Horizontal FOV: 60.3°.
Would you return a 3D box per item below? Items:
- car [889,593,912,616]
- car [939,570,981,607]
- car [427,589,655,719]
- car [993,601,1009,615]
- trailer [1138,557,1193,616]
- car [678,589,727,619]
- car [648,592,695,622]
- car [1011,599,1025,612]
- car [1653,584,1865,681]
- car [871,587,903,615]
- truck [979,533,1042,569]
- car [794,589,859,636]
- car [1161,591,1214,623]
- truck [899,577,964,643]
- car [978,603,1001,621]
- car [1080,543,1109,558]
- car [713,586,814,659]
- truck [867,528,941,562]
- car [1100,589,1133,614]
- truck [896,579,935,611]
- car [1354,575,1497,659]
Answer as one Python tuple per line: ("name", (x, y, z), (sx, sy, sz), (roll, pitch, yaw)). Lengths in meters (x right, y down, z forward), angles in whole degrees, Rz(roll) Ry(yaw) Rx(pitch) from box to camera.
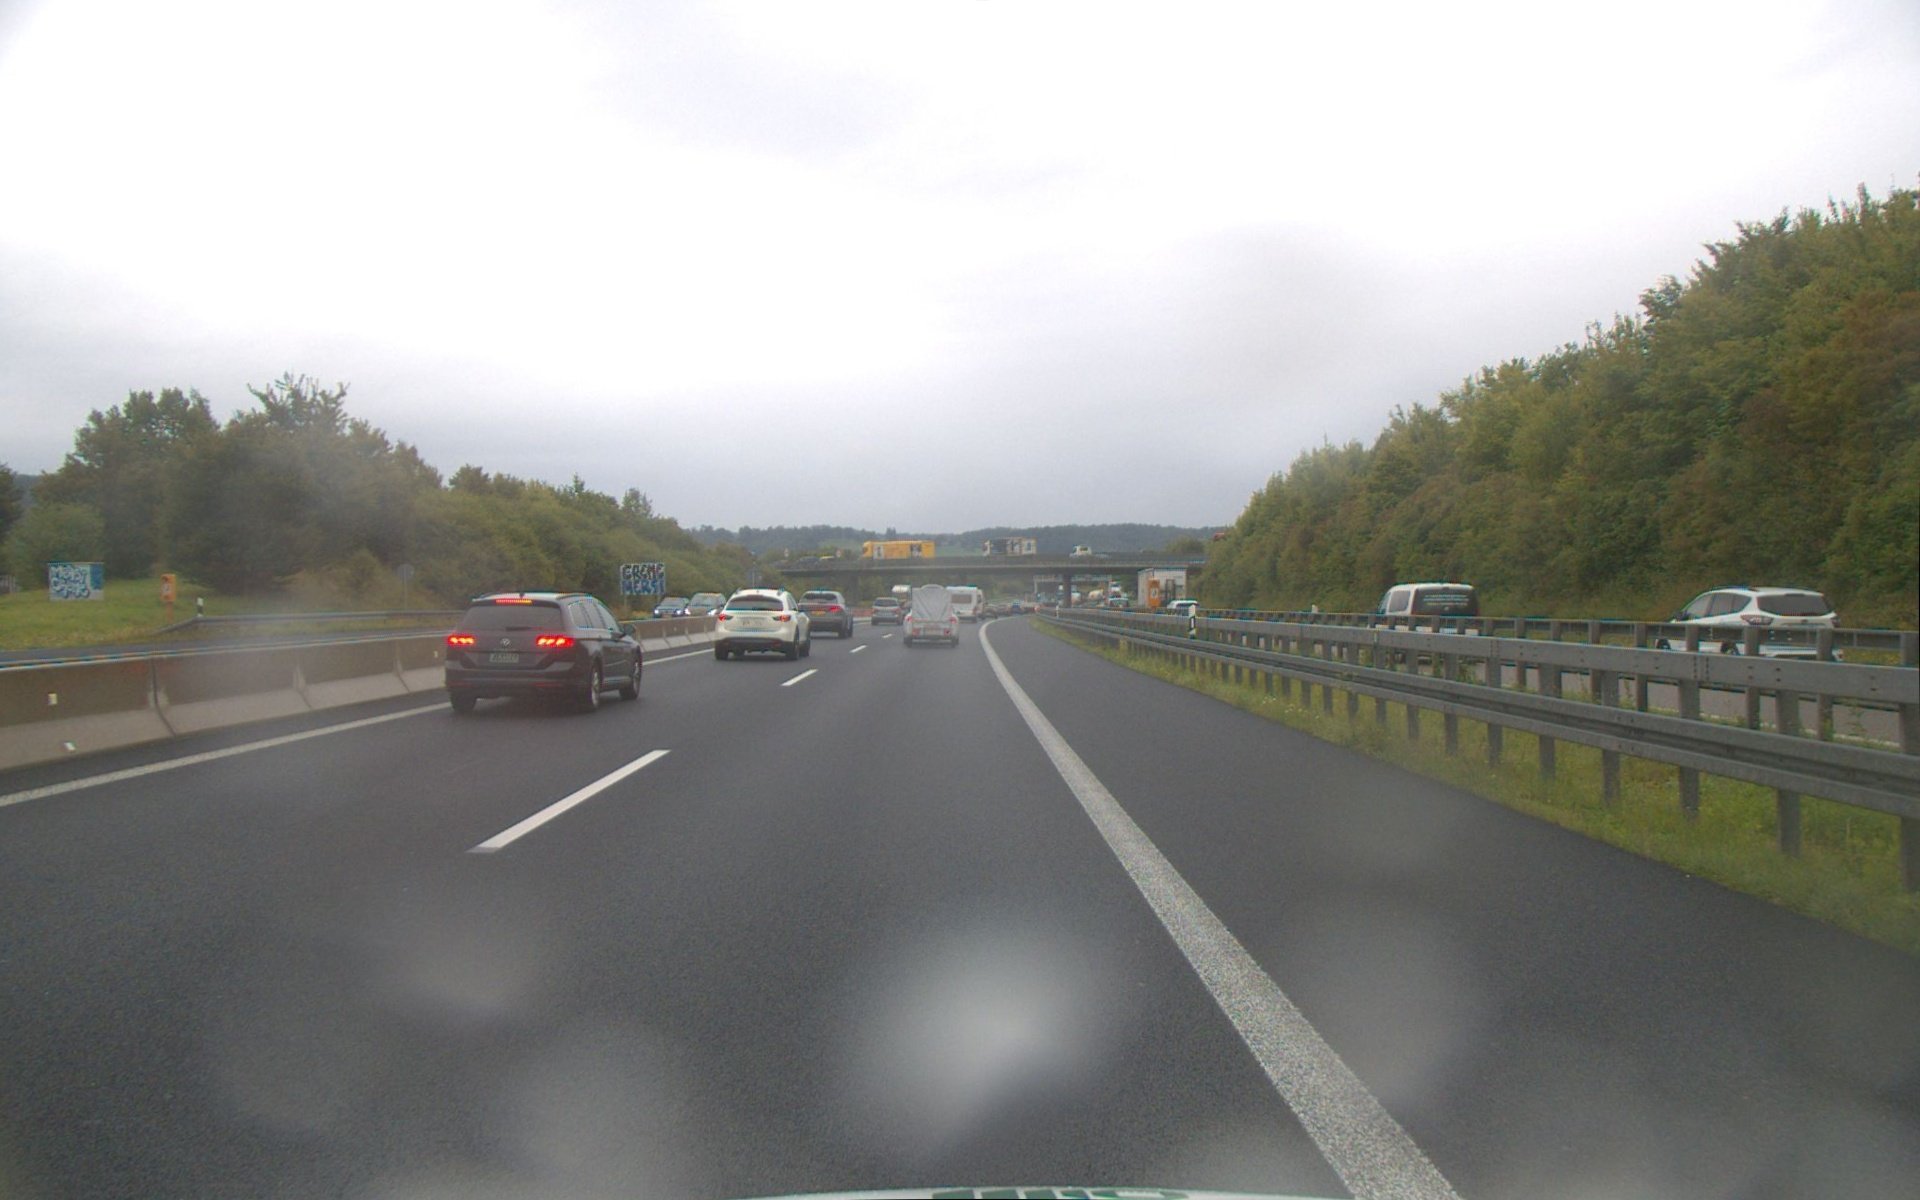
("car", (-4.774, 0.342, 131.783), (1.805, 1.851, 3.998), (0, 0, -2))
("car", (0.049, -0.875, 121.284), (2.954, 2.662, 6.075), (0, 1, 1))
("car", (-5.365, 0.645, 21.854), (1.862, 1.523, 4.850), (0, 0, -1))
("car", (5.264, 0.987, 211.889), (1.953, 1.780, 4.000), (1, 0, 0))
("trailer", (15.761, -1.073, 127.719), (3.366, 4.364, 10.457), (0, 0, 2))
("car", (-13.542, 0.182, 87.194), (1.942, 1.532, 4.637), (0, 0, -1))
("car", (-16.630, 0.397, 95.476), (1.942, 1.642, 4.421), (1, 0, -1))
("car", (8.386, 0.821, 240.057), (1.952, 1.780, 4.000), (1, 0, 1))
("car", (14.453, 0.543, 30.200), (1.858, 1.641, 4.145), (0, 0, -1))
("car", (-4.350, 0.056, 98.612), (1.862, 1.641, 4.015), (0, 0, -2))
("truck", (7.324, -7.046, 240.636), (3.740, 4.920, 9.906), (0, 0, -38))
("car", (-4.940, 0.441, 61.770), (2.130, 1.660, 4.500), (0, 0, -1))
("car", (11.404, 0.338, 83.182), (1.967, 1.575, 4.695), (0, 0, -1))
("truck", (-0.906, 0.276, 53.893), (1.978, 2.020, 7.212), (0, 0, -1))
("car", (3.002, 1.250, 168.275), (1.954, 1.780, 3.997), (1, 0, -4))
("car", (18.284, -6.709, 225.153), (1.825, 1.948, 3.944), (1, 0, -39))
("car", (-4.687, 0.501, 40.066), (1.936, 1.668, 4.500), (0, 0, 0))
("truck", (-9.001, -8.669, 262.907), (3.740, 4.920, 15.036), (0, 0, -38))
("car", (11.596, 0.090, 122.989), (1.822, 1.837, 4.646), (0, 0, -2))
("truck", (-5.059, -0.562, 190.811), (3.688, 3.616, 13.190), (0, 0, 2))
("car", (10.820, 0.371, 38.736), (1.968, 1.846, 4.274), (0, 0, -3))
